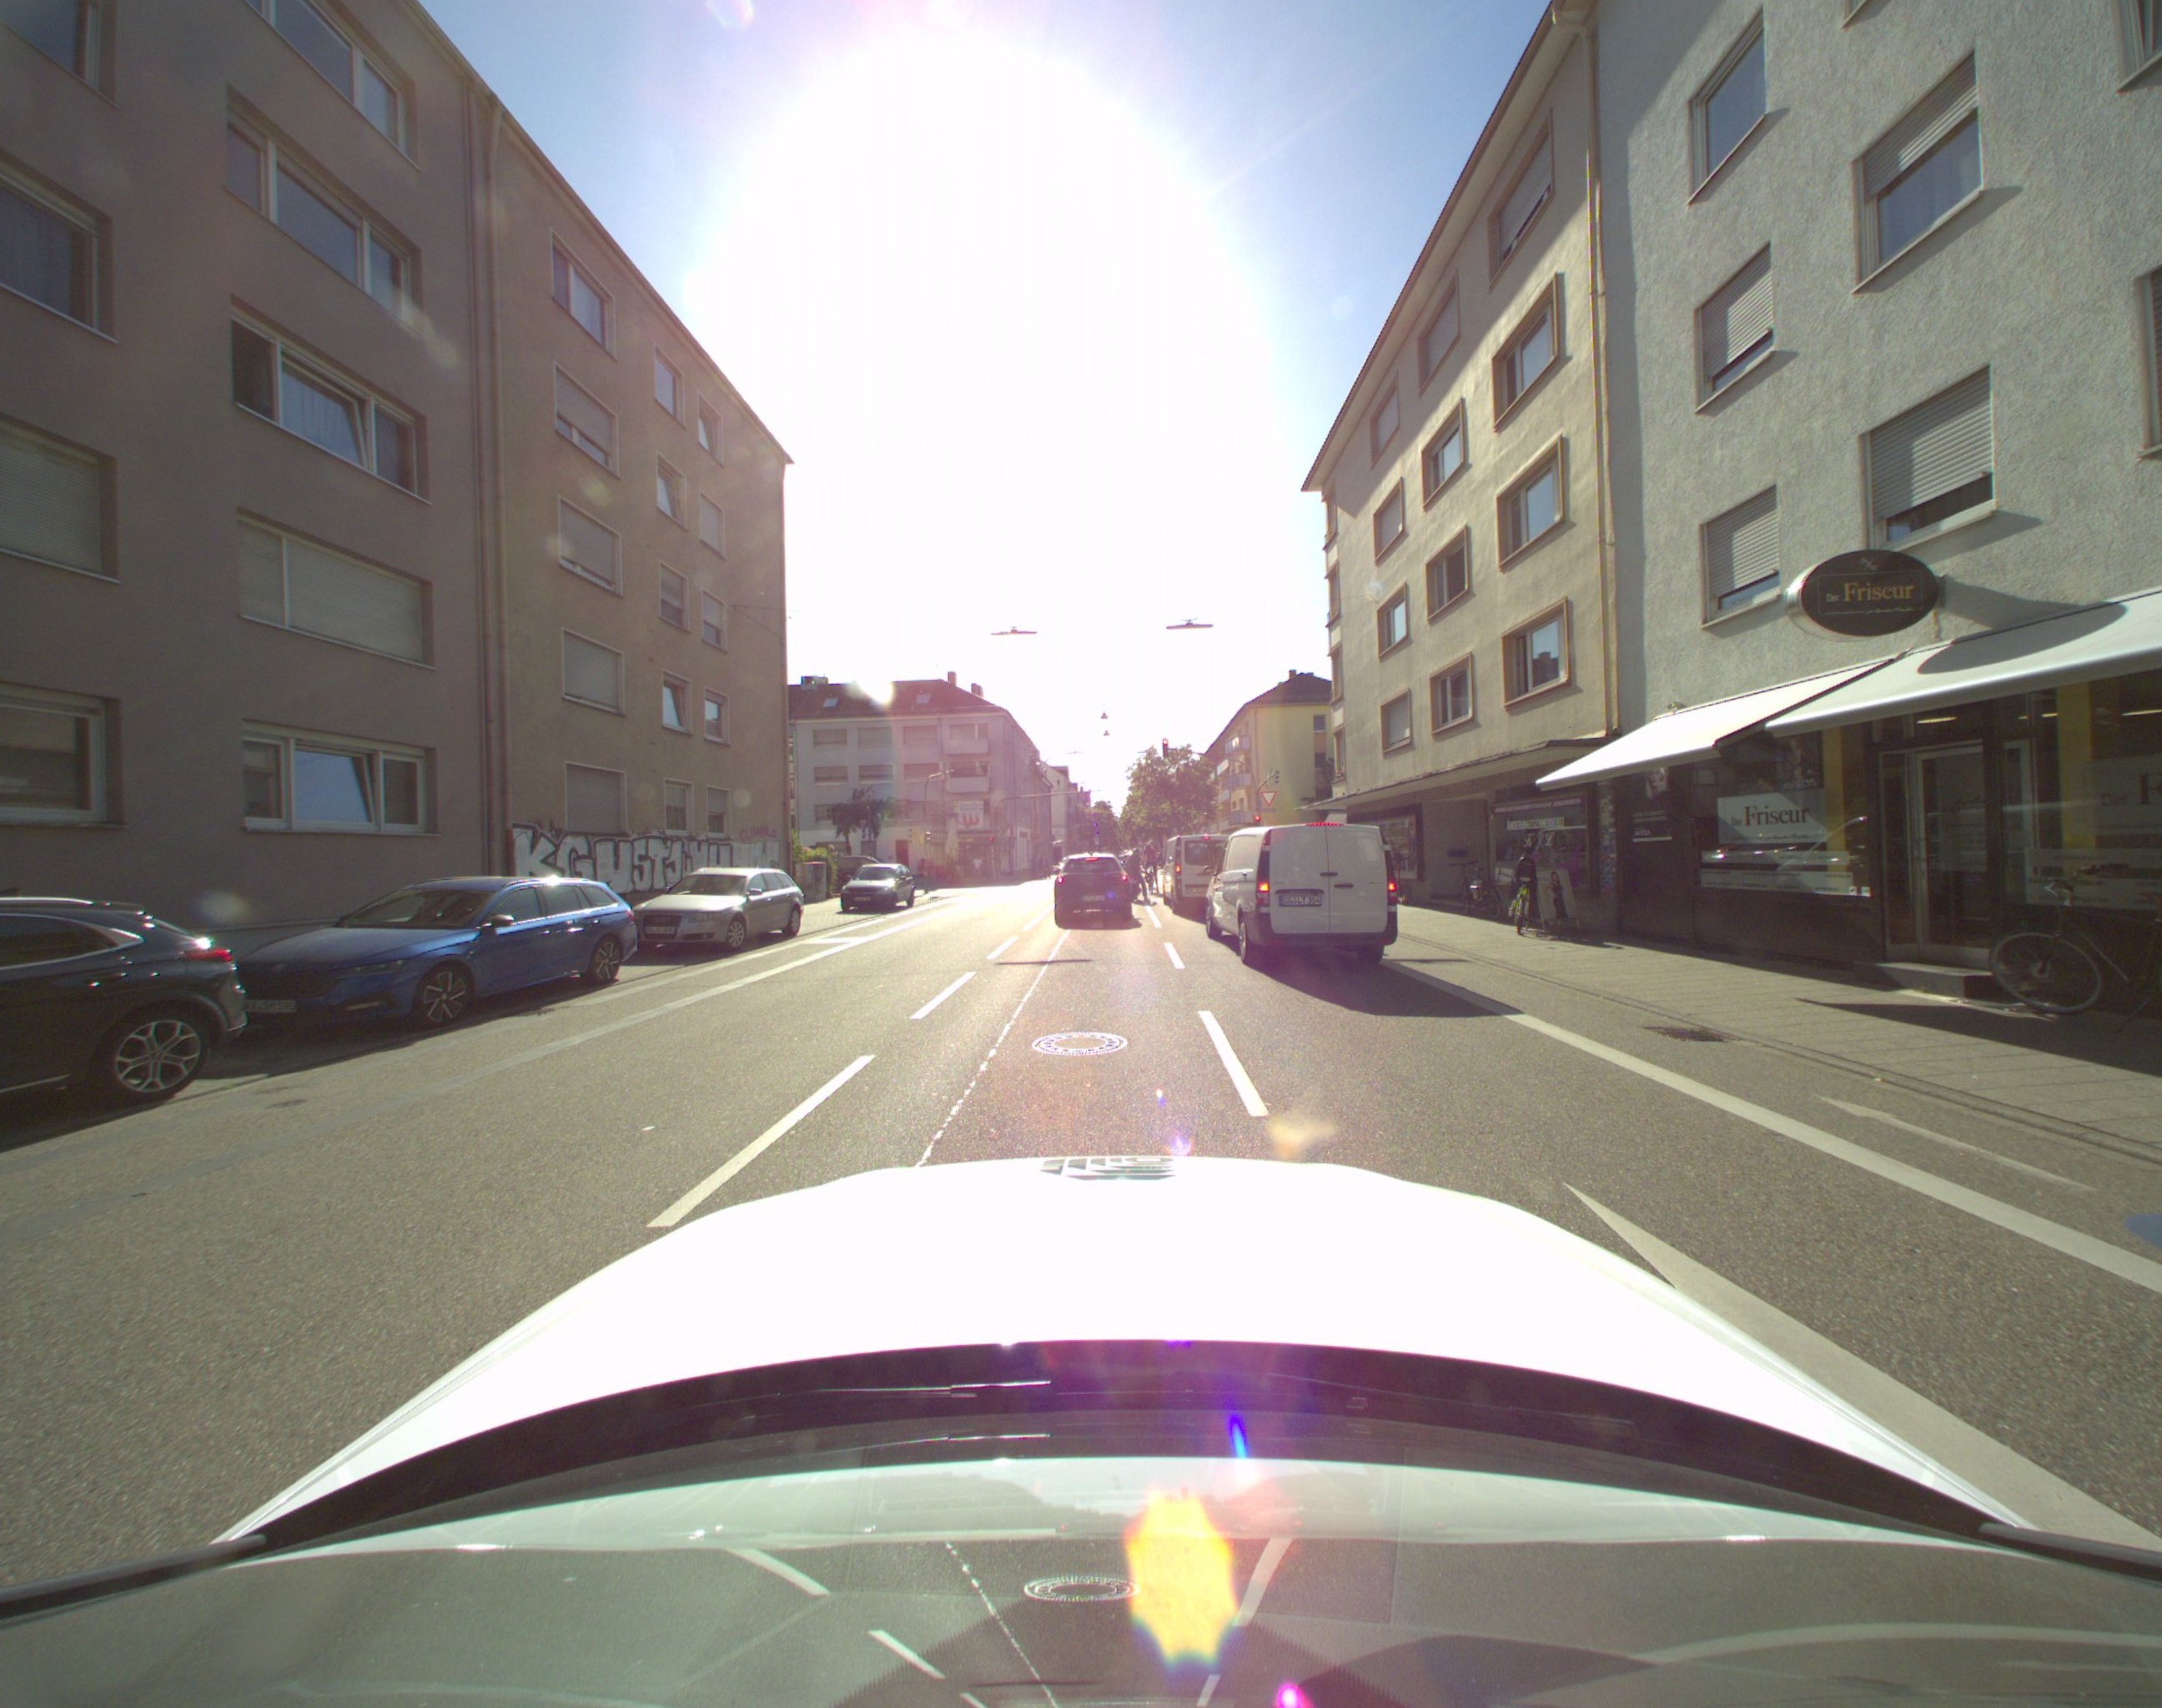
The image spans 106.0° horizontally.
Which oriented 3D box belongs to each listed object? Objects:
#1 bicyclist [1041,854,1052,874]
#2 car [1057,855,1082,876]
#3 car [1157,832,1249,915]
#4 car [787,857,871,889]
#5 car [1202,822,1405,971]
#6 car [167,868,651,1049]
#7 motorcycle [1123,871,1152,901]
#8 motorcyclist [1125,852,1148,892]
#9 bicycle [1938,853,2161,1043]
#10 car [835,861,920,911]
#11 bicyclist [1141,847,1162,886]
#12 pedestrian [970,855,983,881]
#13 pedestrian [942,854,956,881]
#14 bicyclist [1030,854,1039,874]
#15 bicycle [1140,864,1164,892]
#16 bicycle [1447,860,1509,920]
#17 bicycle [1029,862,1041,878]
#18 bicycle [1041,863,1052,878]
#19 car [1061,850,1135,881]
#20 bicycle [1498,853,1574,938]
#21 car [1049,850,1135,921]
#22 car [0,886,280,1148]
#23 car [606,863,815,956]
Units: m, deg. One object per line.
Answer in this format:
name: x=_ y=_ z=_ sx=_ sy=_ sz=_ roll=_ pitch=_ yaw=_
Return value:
bicyclist: x=-2.417 y=0.729 z=57.347 sx=0.566 sy=1.370 sz=0.585 roll=-2 pitch=-1 yaw=10
car: x=-0.812 y=0.832 z=59.644 sx=1.612 sy=1.398 sz=3.733 roll=-2 pitch=0 yaw=2
car: x=3.120 y=0.455 z=21.756 sx=1.809 sy=1.921 sz=4.645 roll=-2 pitch=0 yaw=1
car: x=-13.635 y=1.011 z=44.210 sx=3.976 sy=1.626 sz=1.543 roll=-2 pitch=0 yaw=-2
car: x=3.112 y=0.529 z=12.431 sx=1.977 sy=1.822 sz=4.549 roll=-1 pitch=0 yaw=2
car: x=-7.251 y=0.972 z=9.617 sx=1.714 sy=1.497 sz=4.629 roll=1 pitch=0 yaw=2
motorcycle: x=1.772 y=0.984 z=25.687 sx=0.804 sy=0.863 sz=1.823 roll=1 pitch=0 yaw=1
motorcyclist: x=1.749 y=0.552 z=25.716 sx=0.656 sy=1.227 sz=0.694 roll=-2 pitch=0 yaw=1
bicycle: x=7.560 y=0.632 z=5.992 sx=0.546 sy=1.269 sz=1.884 roll=-2 pitch=0 yaw=2
car: x=-6.488 y=0.968 z=26.335 sx=1.647 sy=1.479 sz=4.001 roll=0 pitch=0 yaw=1
bicyclist: x=2.693 y=0.464 z=31.102 sx=0.681 sy=1.448 sz=0.940 roll=-2 pitch=0 yaw=1
pedestrian: x=-6.653 y=0.879 z=51.901 sx=0.681 sy=1.663 sz=0.601 roll=-2 pitch=0 yaw=1
pedestrian: x=-8.318 y=0.872 z=51.368 sx=0.681 sy=1.663 sz=0.601 roll=-2 pitch=0 yaw=1
bicyclist: x=-3.267 y=0.705 z=57.539 sx=0.542 sy=1.381 sz=0.522 roll=0 pitch=-1 yaw=10
bicycle: x=2.694 y=0.886 z=30.933 sx=0.772 sy=0.992 sz=1.717 roll=-2 pitch=0 yaw=1
bicycle: x=7.989 y=0.705 z=16.432 sx=0.521 sy=1.118 sz=1.535 roll=-2 pitch=0 yaw=2
bicycle: x=-3.256 y=1.150 z=57.465 sx=0.561 sy=1.085 sz=1.106 roll=-2 pitch=0 yaw=10
bicycle: x=-2.407 y=1.182 z=57.326 sx=0.532 sy=1.005 sz=1.114 roll=-2 pitch=0 yaw=10
car: x=1.016 y=0.638 z=47.205 sx=4.023 sy=1.640 sz=1.976 roll=-1 pitch=0 yaw=-43
bicycle: x=7.348 y=0.638 z=13.202 sx=0.473 sy=1.274 sz=1.218 roll=-5 pitch=0 yaw=2
car: x=0.286 y=0.686 z=19.779 sx=1.838 sy=1.507 sz=4.001 roll=-2 pitch=0 yaw=1
car: x=-7.654 y=1.037 z=4.540 sx=1.985 sy=1.497 sz=4.233 roll=1 pitch=0 yaw=4
car: x=-6.950 y=0.943 z=15.951 sx=1.770 sy=1.469 sz=4.761 roll=1 pitch=0 yaw=2
